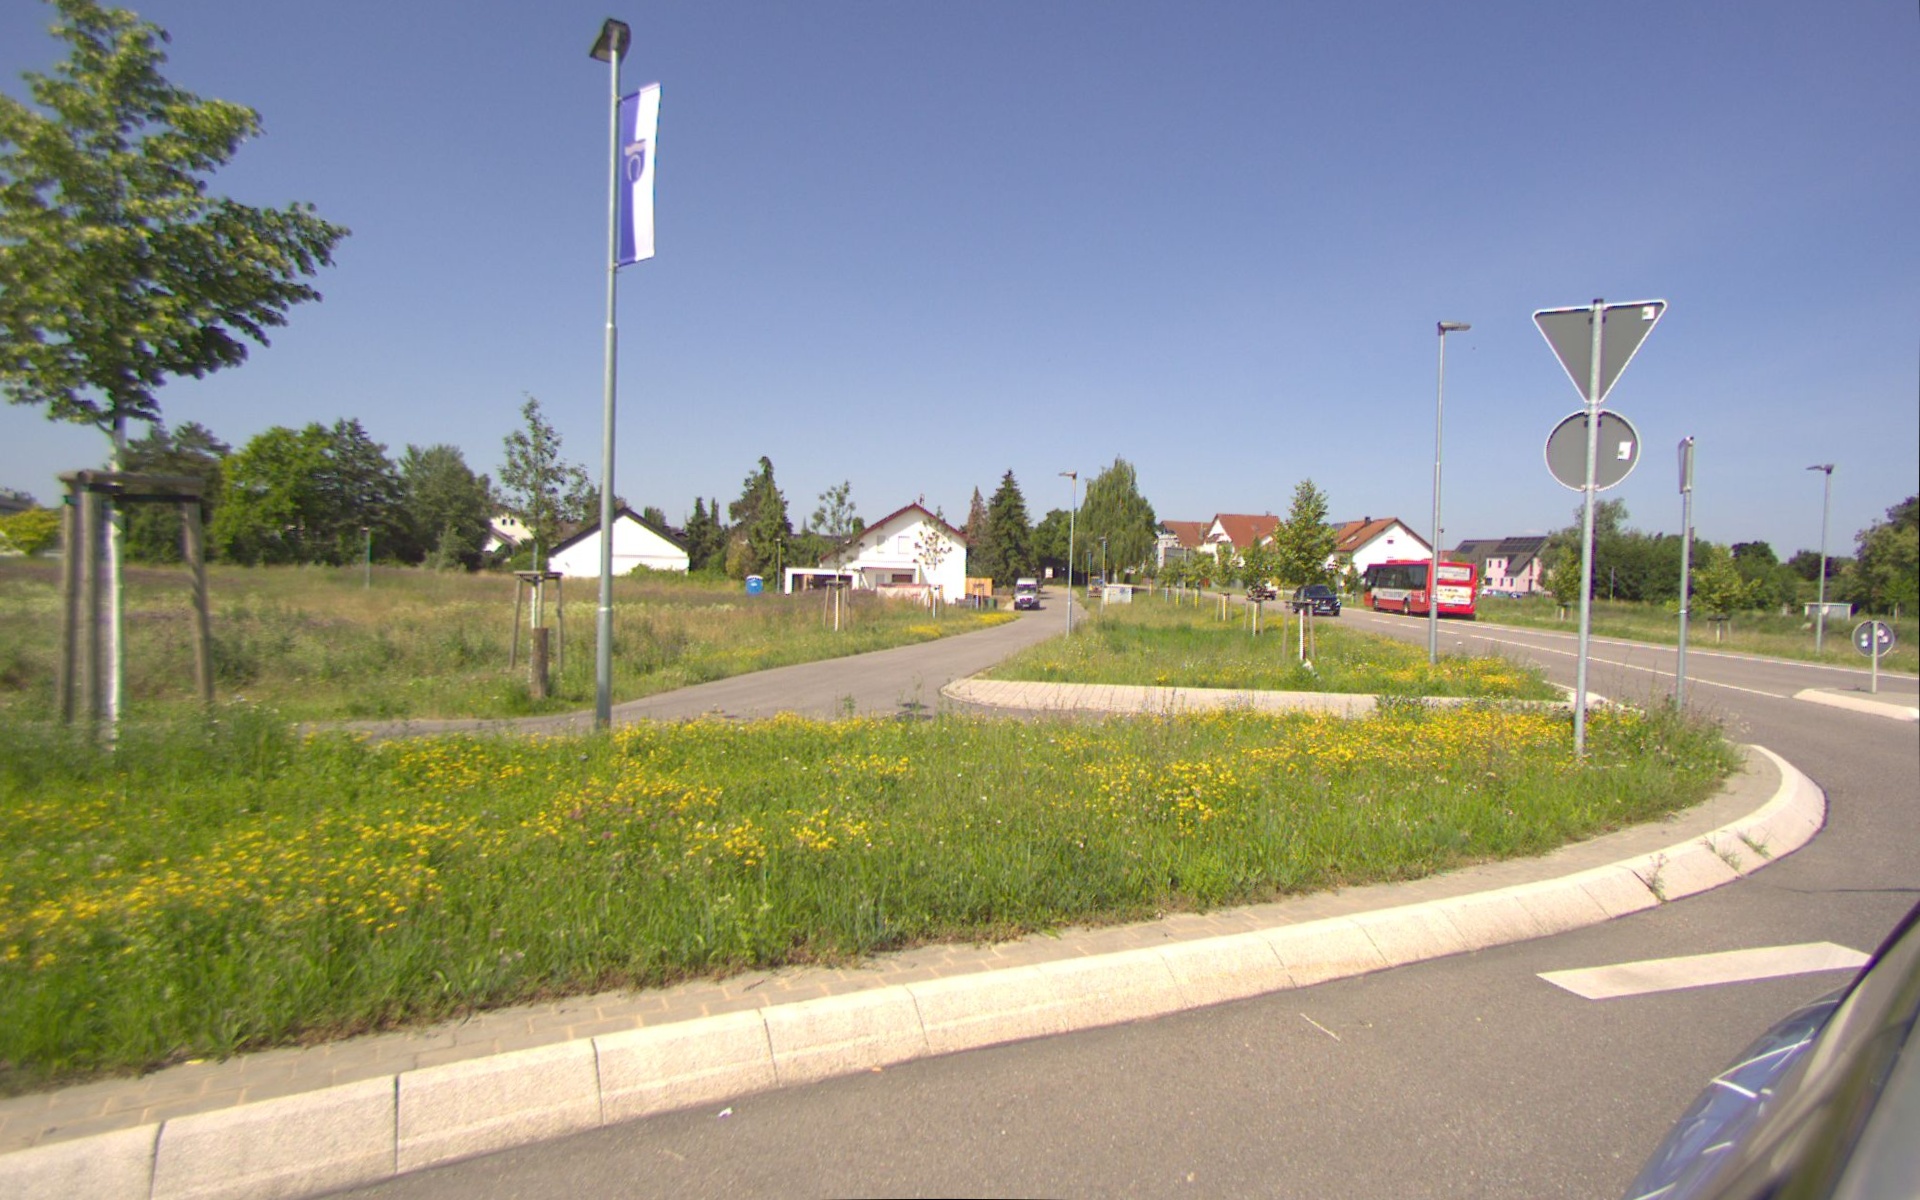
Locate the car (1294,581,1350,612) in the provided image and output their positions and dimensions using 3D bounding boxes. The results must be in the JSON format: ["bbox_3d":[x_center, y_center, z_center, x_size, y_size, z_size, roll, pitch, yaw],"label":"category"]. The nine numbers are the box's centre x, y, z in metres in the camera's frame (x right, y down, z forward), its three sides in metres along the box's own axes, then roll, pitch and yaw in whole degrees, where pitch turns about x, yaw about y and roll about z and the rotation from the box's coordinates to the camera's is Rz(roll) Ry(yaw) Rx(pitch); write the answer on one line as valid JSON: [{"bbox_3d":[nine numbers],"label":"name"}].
[{"bbox_3d":[19.794,-0.207,55.495,1.901,1.581,3.994,1,1,6],"label":"car"}]

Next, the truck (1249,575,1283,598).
[{"bbox_3d":[27.505,-1.243,91.219,1.924,2.009,5.634,-1,1,7],"label":"truck"}]

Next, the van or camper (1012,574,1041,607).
[{"bbox_3d":[5.462,-0.841,83.725,2.139,2.633,6.029,0,1,2],"label":"van or camper"}]

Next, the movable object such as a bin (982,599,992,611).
[{"bbox_3d":[2.194,0.389,81.245,0.684,0.949,0.636,0,1,12],"label":"movable object such as a bin"}]

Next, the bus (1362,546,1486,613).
[{"bbox_3d":[26.412,-1.160,58.463,2.756,3.327,12.206,3,1,7],"label":"bus"}]

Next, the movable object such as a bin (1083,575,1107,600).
[{"bbox_3d":[14.109,-1.241,106.033,2.284,2.494,6.931,-1,0,7],"label":"movable object such as a bin"}]

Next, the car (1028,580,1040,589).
[{"bbox_3d":[11.925,-2.520,163.414,1.831,1.463,4.166,-1,2,3],"label":"car"}]
